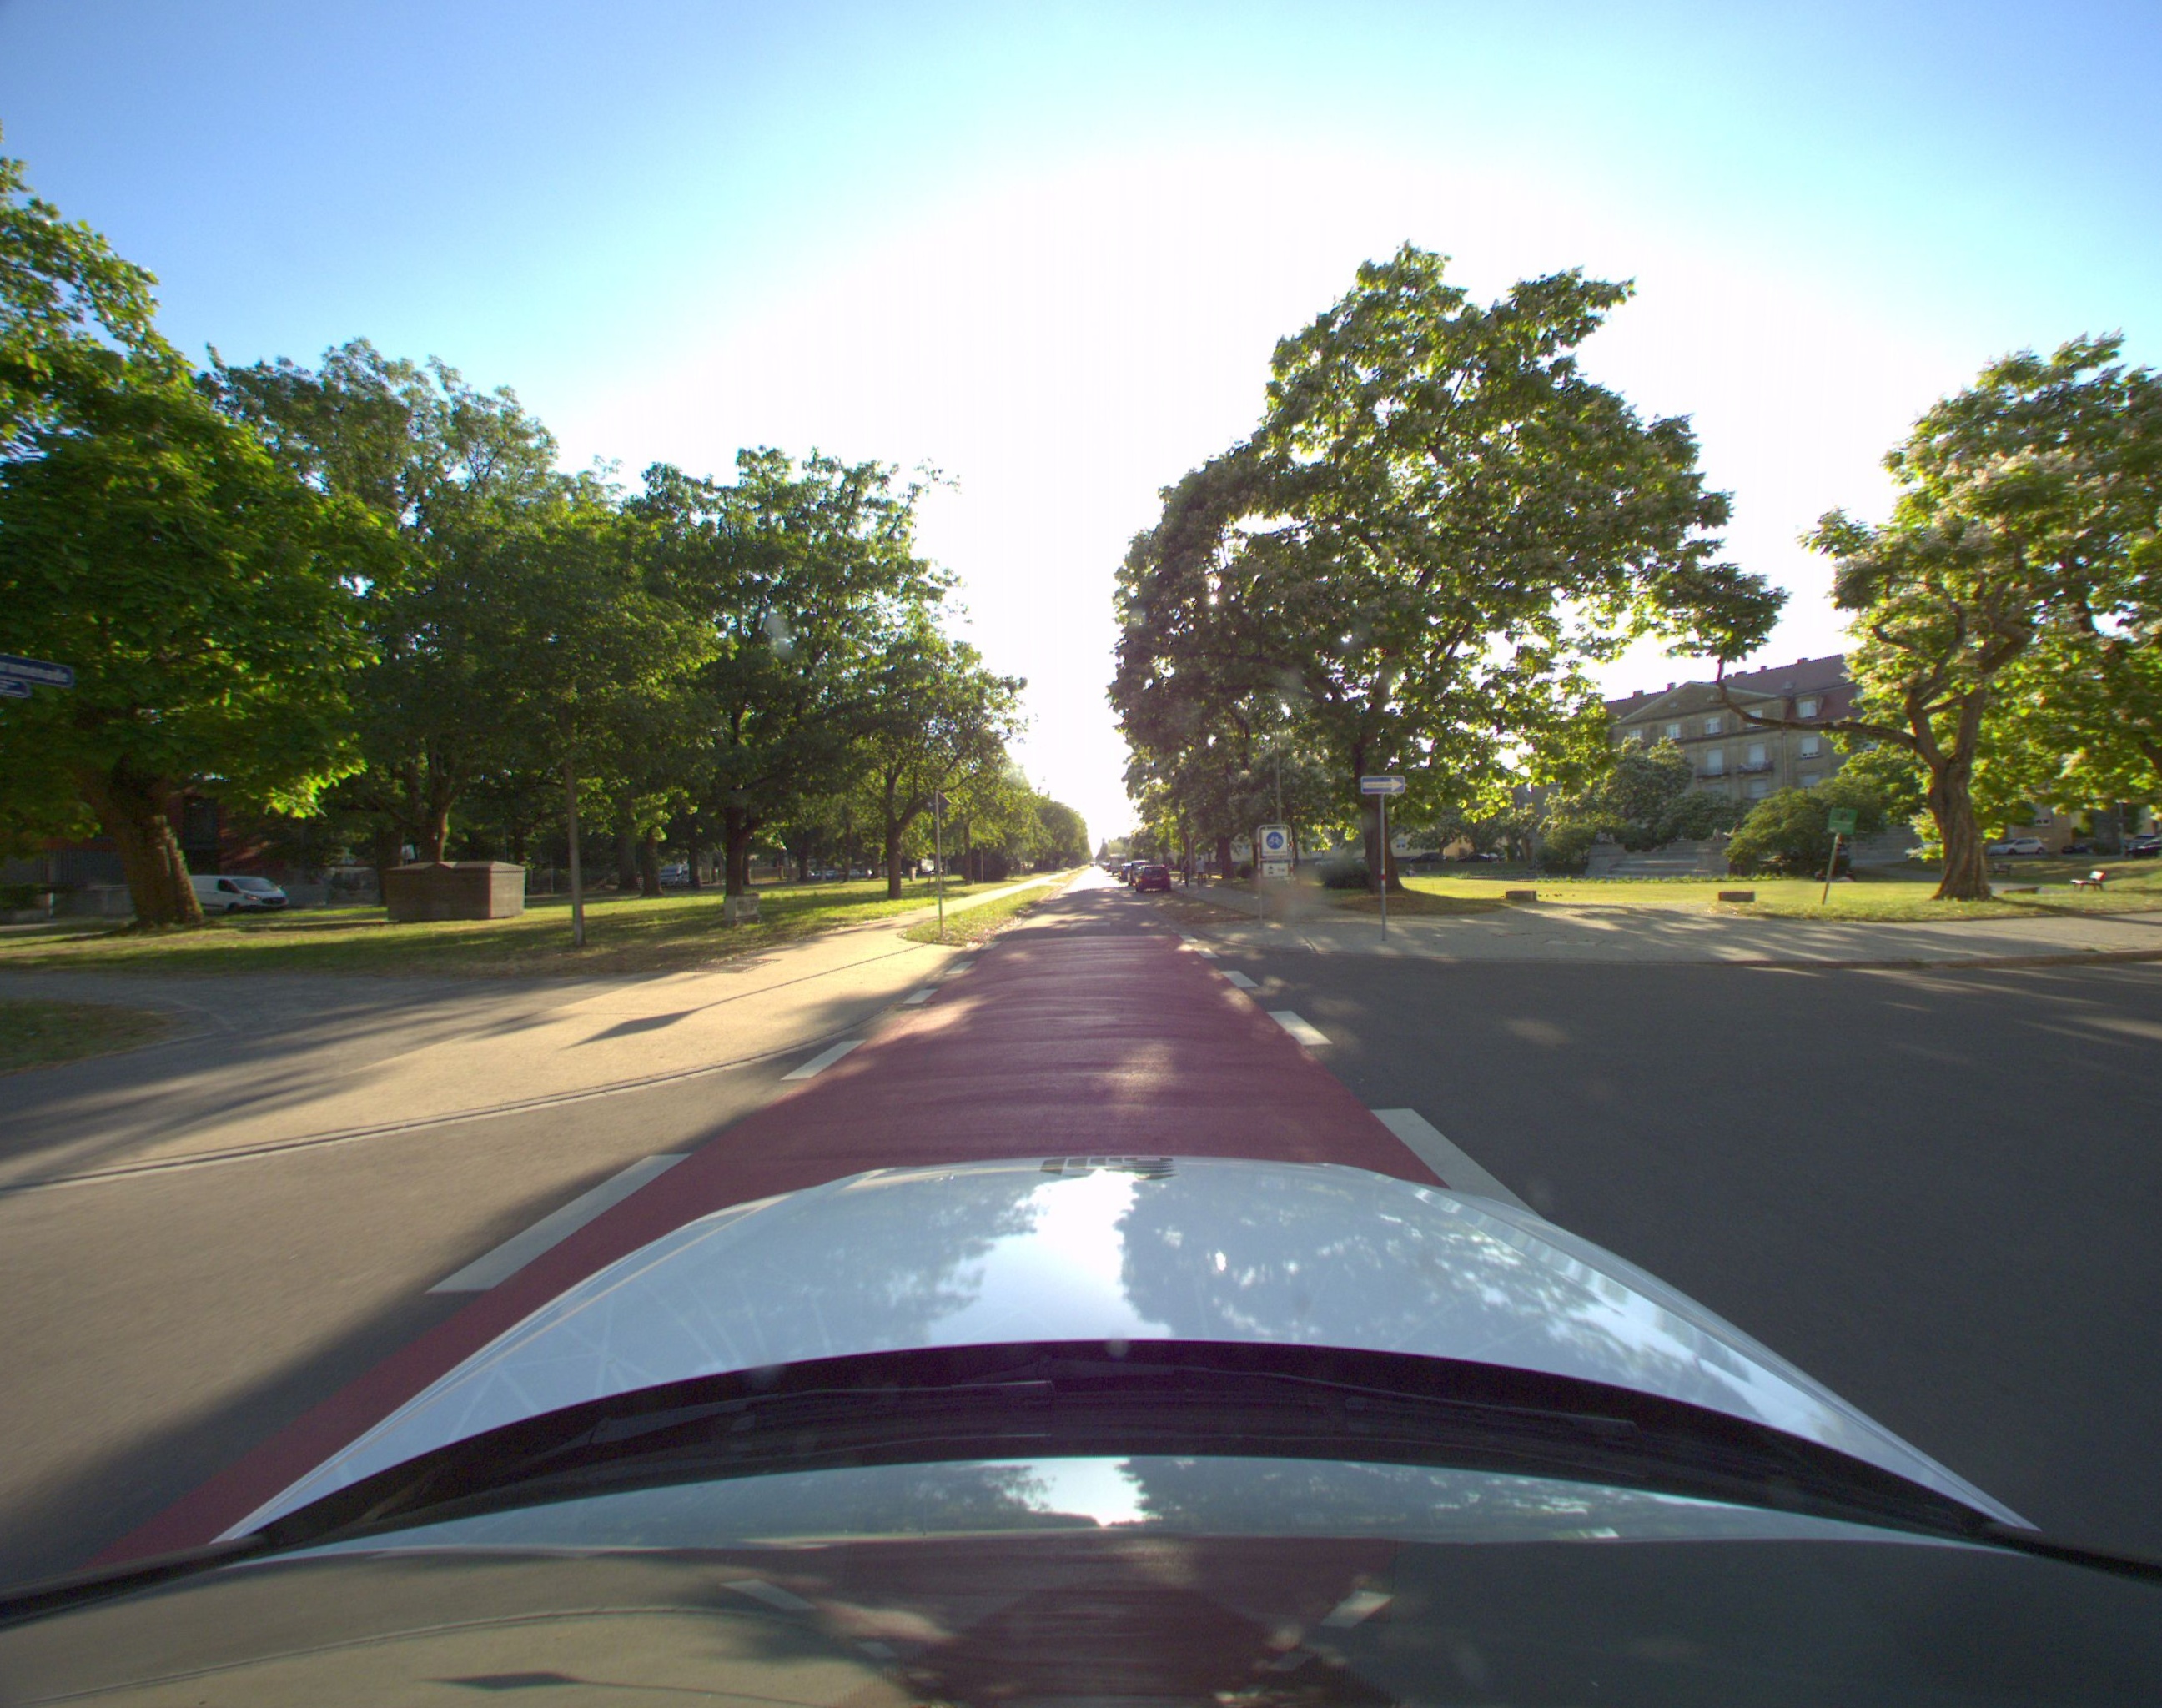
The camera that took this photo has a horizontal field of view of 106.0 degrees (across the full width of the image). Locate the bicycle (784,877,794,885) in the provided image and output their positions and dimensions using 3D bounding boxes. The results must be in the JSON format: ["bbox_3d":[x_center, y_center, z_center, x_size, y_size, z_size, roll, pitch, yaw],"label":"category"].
[{"bbox_3d":[-41.818,3.833,116.521,0.655,1.175,2.332,-2,-1,-2],"label":"bicycle"}]

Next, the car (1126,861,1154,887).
[{"bbox_3d":[4.265,1.468,59.339,1.672,1.740,4.513,-2,-1,1],"label":"car"}]

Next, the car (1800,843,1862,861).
[{"bbox_3d":[67.696,-0.141,73.601,1.807,1.417,4.097,-2,-1,2],"label":"car"}]

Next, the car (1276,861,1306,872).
[{"bbox_3d":[33.471,1.983,129.884,4.474,1.569,1.890,-2,-2,19],"label":"car"}]

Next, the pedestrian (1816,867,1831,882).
[{"bbox_3d":[43.362,1.188,47.545,0.571,0.881,0.681,-2,-2,38],"label":"pedestrian"}]

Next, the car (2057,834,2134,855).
[{"bbox_3d":[86.820,-0.793,69.751,4.197,1.623,1.820,-2,-2,1],"label":"car"}]

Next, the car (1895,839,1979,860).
[{"bbox_3d":[66.828,-0.306,63.705,1.803,1.417,4.960,-2,-1,8],"label":"car"}]

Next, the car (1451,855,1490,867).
[{"bbox_3d":[51.616,0.912,107.994,1.889,1.453,4.318,-1,-2,-37],"label":"car"}]

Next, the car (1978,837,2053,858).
[{"bbox_3d":[80.414,-0.559,70.112,4.197,1.623,1.820,-2,-2,1],"label":"car"}]

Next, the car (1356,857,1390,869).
[{"bbox_3d":[44.309,1.368,123.769,4.467,1.746,1.892,-3,-2,36],"label":"car"}]

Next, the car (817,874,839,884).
[{"bbox_3d":[-39.807,3.920,128.342,1.986,1.508,4.116,-2,-1,2],"label":"car"}]

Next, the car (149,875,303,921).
[{"bbox_3d":[-43.345,2.205,41.414,4.936,2.114,2.678,-1,-1,0],"label":"car"}]

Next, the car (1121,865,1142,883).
[{"bbox_3d":[4.609,1.851,74.753,1.725,1.551,4.277,-2,-1,2],"label":"car"}]

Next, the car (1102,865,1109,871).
[{"bbox_3d":[6.130,3.661,207.392,1.621,1.410,4.249,-2,-1,1],"label":"car"}]

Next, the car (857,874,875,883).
[{"bbox_3d":[-39.272,4.478,148.861,1.986,1.508,4.116,-2,-1,2],"label":"car"}]

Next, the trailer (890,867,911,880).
[{"bbox_3d":[-38.506,4.192,173.974,2.450,2.489,7.051,-2,-1,2],"label":"trailer"}]

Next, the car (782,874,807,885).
[{"bbox_3d":[-41.176,3.666,117.200,1.986,1.508,4.001,-2,-1,2],"label":"car"}]

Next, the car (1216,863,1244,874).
[{"bbox_3d":[23.185,2.282,126.598,4.163,1.463,1.700,-2,-2,16],"label":"car"}]

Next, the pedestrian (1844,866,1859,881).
[{"bbox_3d":[44.108,1.124,46.614,0.571,0.881,0.681,-2,-2,38],"label":"pedestrian"}]

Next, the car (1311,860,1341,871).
[{"bbox_3d":[36.540,1.705,121.375,3.949,1.552,1.620,-3,-2,28],"label":"car"}]

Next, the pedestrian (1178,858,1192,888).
[{"bbox_3d":[5.994,1.084,46.935,0.750,1.736,0.732,-1,-1,1],"label":"pedestrian"}]

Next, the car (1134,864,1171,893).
[{"bbox_3d":[3.948,1.349,45.443,1.672,1.486,4.809,-2,-1,1],"label":"car"}]

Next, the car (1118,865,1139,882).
[{"bbox_3d":[4.685,1.932,81.005,1.726,1.551,4.421,-2,-1,0],"label":"car"}]

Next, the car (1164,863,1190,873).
[{"bbox_3d":[15.830,2.341,134.107,4.175,1.531,2.003,-2,-1,5],"label":"car"}]

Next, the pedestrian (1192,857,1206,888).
[{"bbox_3d":[6.793,1.055,46.906,0.722,1.736,0.732,-1,-1,1],"label":"pedestrian"}]

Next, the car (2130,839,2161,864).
[{"bbox_3d":[61.914,-0.193,45.603,1.797,1.417,4.978,-3,-2,25],"label":"car"}]

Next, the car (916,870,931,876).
[{"bbox_3d":[-39.507,4.806,204.579,2.498,1.508,4.914,-2,-1,2],"label":"car"}]

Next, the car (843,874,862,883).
[{"bbox_3d":[-39.340,4.208,140.412,1.986,1.508,4.116,-2,-1,2],"label":"car"}]

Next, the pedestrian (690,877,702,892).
[{"bbox_3d":[-26.957,2.144,56.991,0.547,0.987,0.609,-2,-2,-3],"label":"pedestrian"}]

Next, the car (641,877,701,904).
[{"bbox_3d":[-40.815,3.587,81.308,2.712,2.463,6.316,-2,-1,0],"label":"car"}]

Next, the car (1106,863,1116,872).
[{"bbox_3d":[5.680,2.561,153.602,1.621,1.669,4.249,-2,-1,1],"label":"car"}]

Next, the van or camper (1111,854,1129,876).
[{"bbox_3d":[5.312,1.570,112.153,2.226,2.904,5.672,-2,-2,0],"label":"van or camper"}]

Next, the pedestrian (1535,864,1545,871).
[{"bbox_3d":[51.338,1.477,91.097,0.585,0.794,0.665,-2,-2,-10],"label":"pedestrian"}]
